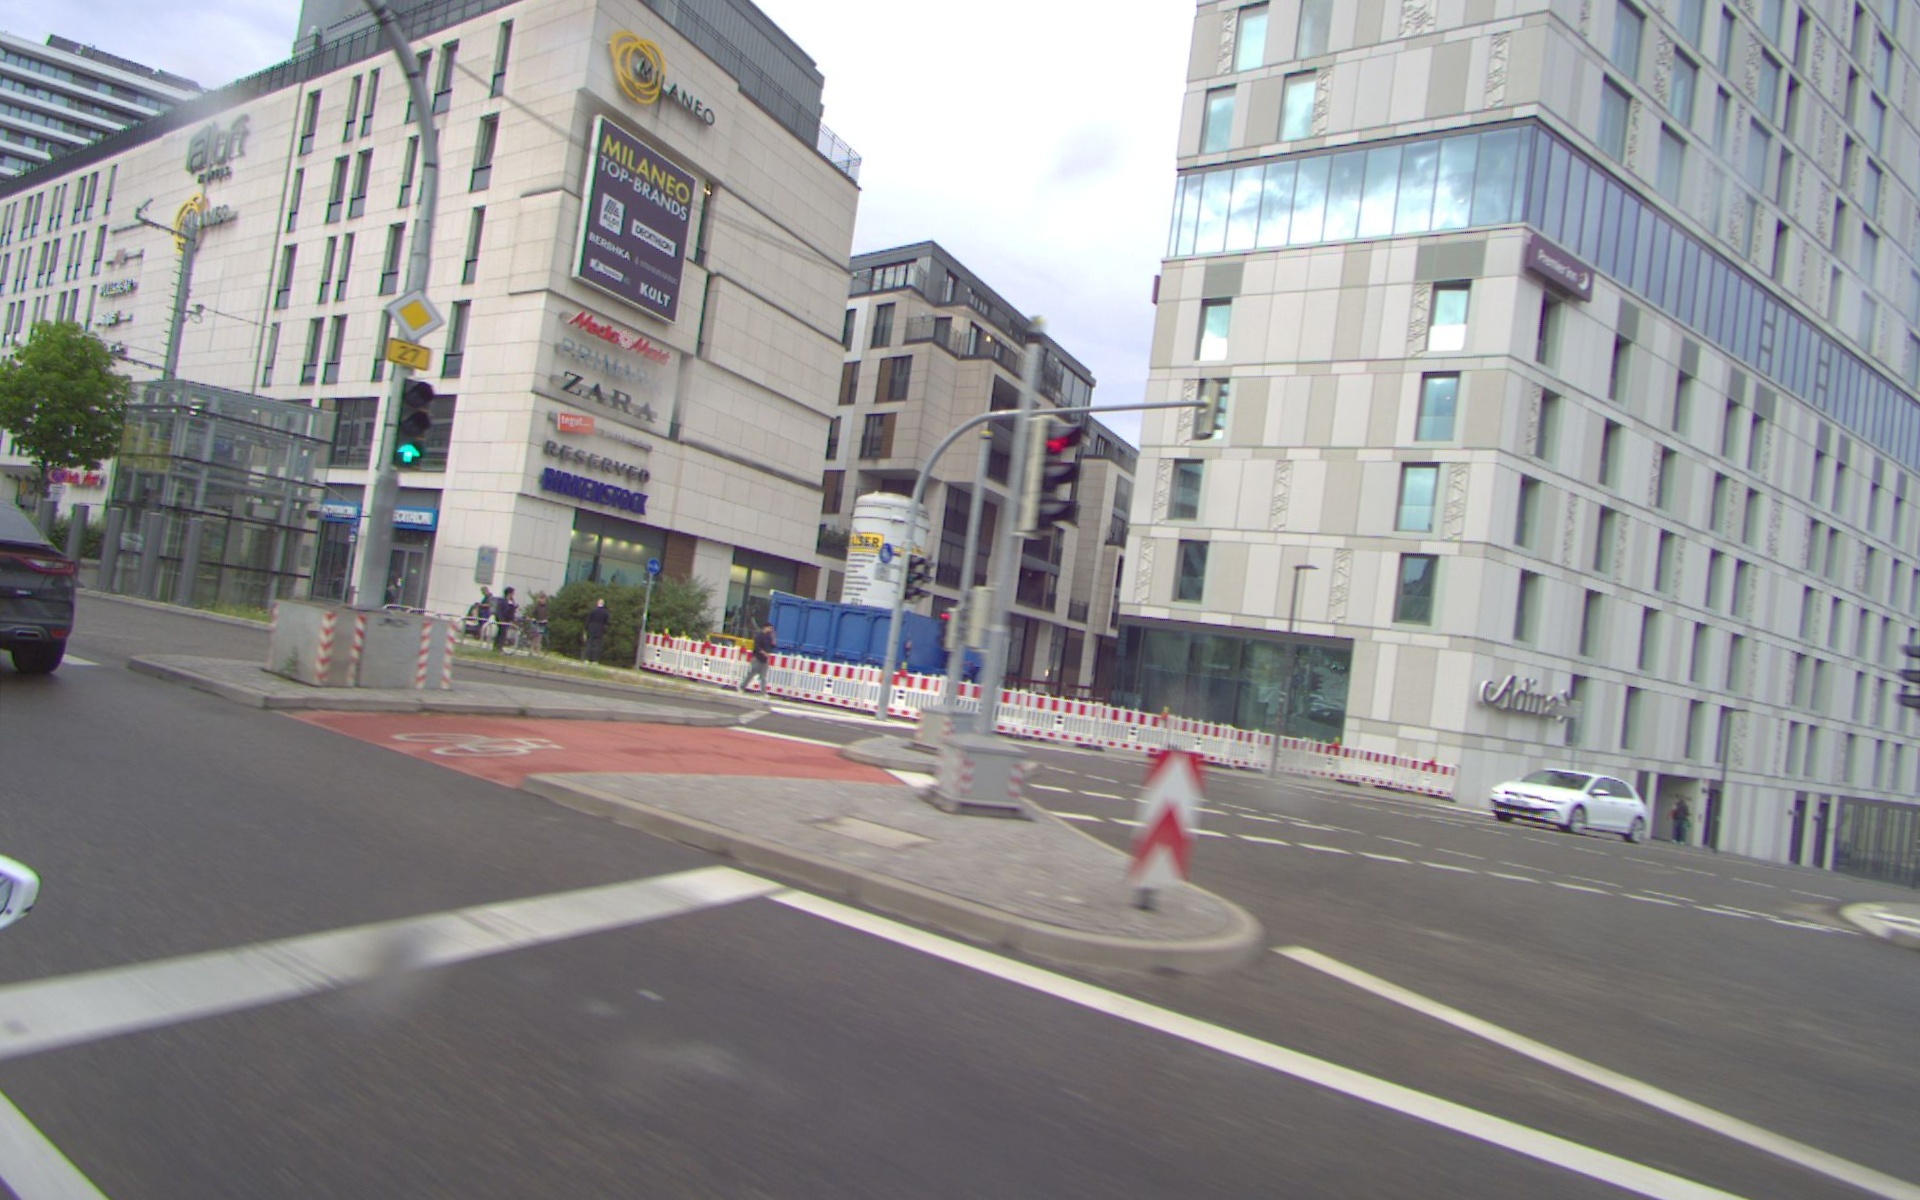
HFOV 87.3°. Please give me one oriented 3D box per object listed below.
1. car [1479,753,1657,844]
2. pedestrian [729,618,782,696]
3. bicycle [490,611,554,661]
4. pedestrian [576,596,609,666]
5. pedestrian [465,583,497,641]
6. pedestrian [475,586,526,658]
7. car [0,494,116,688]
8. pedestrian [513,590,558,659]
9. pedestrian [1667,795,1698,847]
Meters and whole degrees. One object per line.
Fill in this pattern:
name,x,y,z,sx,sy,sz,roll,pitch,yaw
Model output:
car,13.989,4.574,23.103,3.963,1.448,1.731,12,-4,-30
pedestrian,-4.734,1.331,23.311,0.810,1.691,0.622,6,-1,32
bicycle,-10.869,0.887,24.964,1.713,1.027,0.450,6,-2,32
pedestrian,-9.943,0.835,27.203,0.586,1.801,0.439,7,-1,-16
pedestrian,-14.328,0.349,30.099,0.590,1.661,0.583,8,-1,-34
pedestrian,-11.189,0.535,24.491,0.805,1.629,0.614,6,-1,32
car,-9.644,-0.330,9.031,4.266,1.524,1.795,8,-1,32
pedestrian,-10.669,0.627,25.291,0.687,1.629,0.551,6,-1,32
pedestrian,26.789,8.191,37.293,0.788,1.721,0.798,6,-2,37
